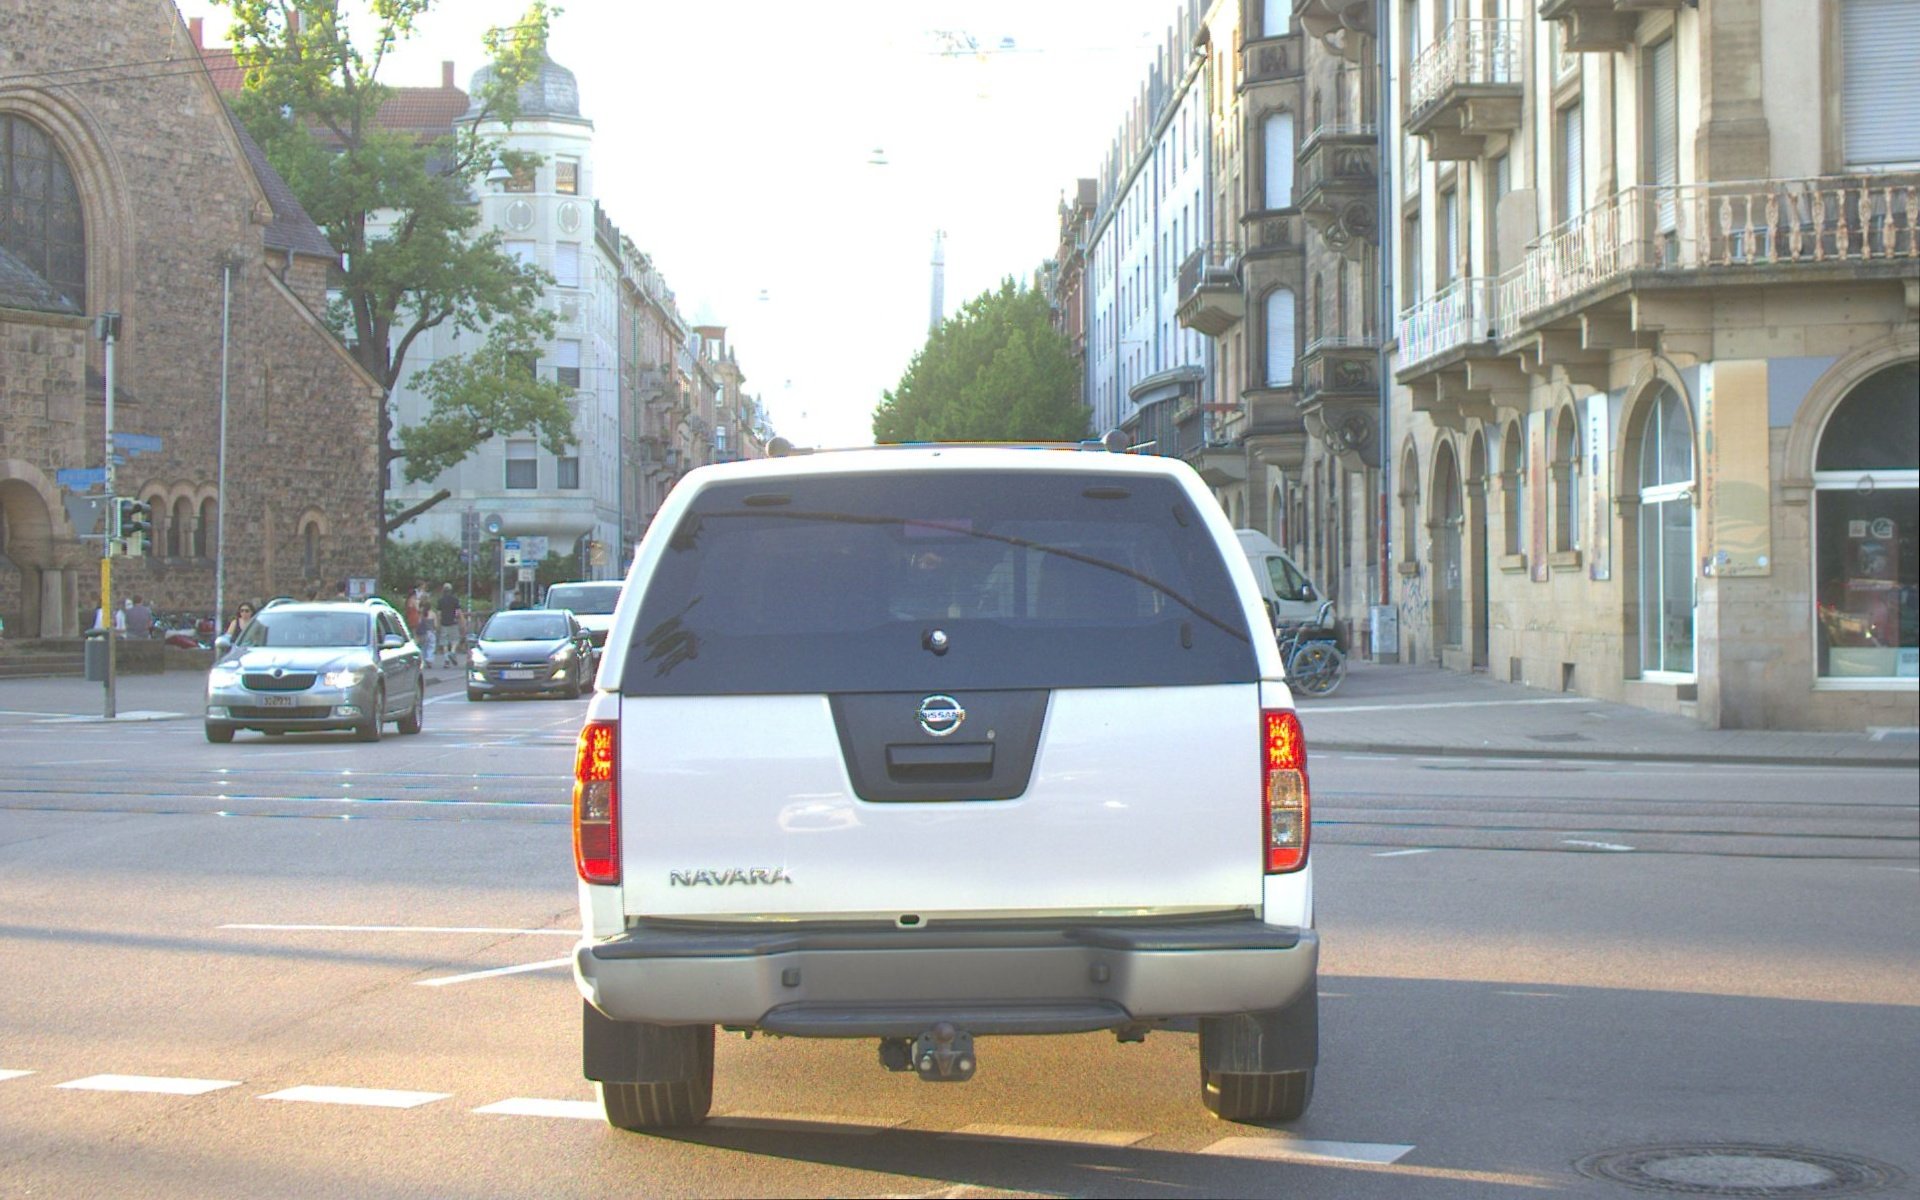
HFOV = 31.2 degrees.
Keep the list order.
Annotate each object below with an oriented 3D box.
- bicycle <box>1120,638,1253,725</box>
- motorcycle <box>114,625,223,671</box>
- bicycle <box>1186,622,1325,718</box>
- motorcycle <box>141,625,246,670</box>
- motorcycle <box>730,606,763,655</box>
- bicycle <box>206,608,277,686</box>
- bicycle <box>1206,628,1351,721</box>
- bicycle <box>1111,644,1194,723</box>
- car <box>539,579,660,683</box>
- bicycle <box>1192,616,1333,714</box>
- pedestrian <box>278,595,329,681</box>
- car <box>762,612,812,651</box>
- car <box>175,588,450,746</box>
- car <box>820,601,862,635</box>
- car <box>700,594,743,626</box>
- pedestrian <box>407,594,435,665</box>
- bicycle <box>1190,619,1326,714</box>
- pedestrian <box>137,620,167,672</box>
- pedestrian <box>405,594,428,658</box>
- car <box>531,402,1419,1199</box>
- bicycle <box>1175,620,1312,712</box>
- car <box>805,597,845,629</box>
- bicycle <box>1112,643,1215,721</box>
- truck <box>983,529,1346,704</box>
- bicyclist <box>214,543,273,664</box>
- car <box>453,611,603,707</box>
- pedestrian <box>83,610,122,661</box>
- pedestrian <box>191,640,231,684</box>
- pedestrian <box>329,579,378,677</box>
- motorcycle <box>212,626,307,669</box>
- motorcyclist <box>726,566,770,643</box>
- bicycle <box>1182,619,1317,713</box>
[{"bbox_3d":[3.090,1.110,46.832,1.726,1.080,0.317,-3,-1,-2],"label":"bicycle"},{"bbox_3d":[-17.516,1.057,76.112,2.243,0.984,0.708,1,-1,-5],"label":"motorcycle"},{"bbox_3d":[4.122,0.969,48.006,1.817,1.234,0.478,-3,-1,-2],"label":"bicycle"},{"bbox_3d":[-17.417,1.076,78.138,2.243,0.984,0.708,1,-1,-5],"label":"motorcycle"},{"bbox_3d":[-4.599,0.655,74.126,0.599,1.040,1.946,1,-1,-1],"label":"motorcycle"},{"bbox_3d":[-9.872,0.640,47.293,0.599,1.040,1.946,1,-1,-1],"label":"bicycle"},{"bbox_3d":[4.283,0.995,46.353,1.817,1.146,0.636,-3,-1,-2],"label":"bicycle"},{"bbox_3d":[2.667,1.156,47.720,1.077,1.021,0.317,-3,-1,-2],"label":"bicycle"},{"bbox_3d":[-7.216,0.628,69.266,1.993,2.007,4.950,-1,-1,-1],"label":"car"},{"bbox_3d":[4.156,0.887,47.296,1.817,1.234,0.488,-3,-1,-2],"label":"bicycle"},{"bbox_3d":[-12.743,0.736,66.736,0.812,1.664,0.859,1,-1,-2],"label":"pedestrian"},{"bbox_3d":[-6.904,1.246,136.990,1.858,1.524,4.000,1,-1,-5],"label":"car"},{"bbox_3d":[-6.842,0.696,36.846,1.993,1.552,4.768,-1,-1,0],"label":"car"},{"bbox_3d":[-5.546,0.857,160.816,1.858,1.524,4.000,1,-1,-1],"label":"car"},{"bbox_3d":[-11.719,0.487,168.834,1.858,1.524,4.000,1,-1,-1],"label":"car"},{"bbox_3d":[-14.145,0.764,90.205,0.642,1.849,0.562,1,-1,-14],"label":"pedestrian"},{"bbox_3d":[4.224,0.943,48.731,1.817,1.234,0.412,-3,-1,-2],"label":"bicycle"},{"bbox_3d":[-15.185,0.866,64.625,0.521,0.957,0.479,1,-1,-15],"label":"pedestrian"},{"bbox_3d":[-14.394,0.685,91.047,0.560,1.690,0.645,1,-1,-7],"label":"pedestrian"},{"bbox_3d":[0.039,0.483,9.834,1.993,1.803,4.000,1,-1,0],"label":"car"},{"bbox_3d":[4.110,0.953,49.869,1.855,1.234,0.531,-3,-1,-2],"label":"bicycle"},{"bbox_3d":[-6.745,0.659,171.141,1.920,1.524,4.000,1,-1,-3],"label":"car"},{"bbox_3d":[2.860,1.149,48.430,1.371,1.021,0.317,-3,-1,-2],"label":"bicycle"},{"bbox_3d":[3.209,0.258,52.931,5.657,2.556,2.286,1,0,-43],"label":"truck"},{"bbox_3d":[-9.839,0.055,47.254,0.599,1.639,0.963,1,-1,-1],"label":"bicyclist"},{"bbox_3d":[-7.055,0.947,56.506,1.993,1.472,4.139,-1,0,-1],"label":"car"},{"bbox_3d":[-16.167,0.673,64.806,0.522,0.957,0.479,1,-1,18],"label":"pedestrian"},{"bbox_3d":[-16.621,1.368,76.295,0.552,0.957,0.709,1,-1,21],"label":"pedestrian"},{"bbox_3d":[-11.771,0.545,66.760,0.812,1.894,0.666,1,-1,-2],"label":"pedestrian"},{"bbox_3d":[-16.390,1.110,80.413,2.167,0.984,0.593,1,-1,20],"label":"motorcycle"},{"bbox_3d":[-4.572,0.105,74.113,0.874,1.639,0.963,1,-1,-1],"label":"motorcyclist"},{"bbox_3d":[4.152,0.947,49.337,1.817,1.234,0.410,-3,-1,-2],"label":"bicycle"}]
